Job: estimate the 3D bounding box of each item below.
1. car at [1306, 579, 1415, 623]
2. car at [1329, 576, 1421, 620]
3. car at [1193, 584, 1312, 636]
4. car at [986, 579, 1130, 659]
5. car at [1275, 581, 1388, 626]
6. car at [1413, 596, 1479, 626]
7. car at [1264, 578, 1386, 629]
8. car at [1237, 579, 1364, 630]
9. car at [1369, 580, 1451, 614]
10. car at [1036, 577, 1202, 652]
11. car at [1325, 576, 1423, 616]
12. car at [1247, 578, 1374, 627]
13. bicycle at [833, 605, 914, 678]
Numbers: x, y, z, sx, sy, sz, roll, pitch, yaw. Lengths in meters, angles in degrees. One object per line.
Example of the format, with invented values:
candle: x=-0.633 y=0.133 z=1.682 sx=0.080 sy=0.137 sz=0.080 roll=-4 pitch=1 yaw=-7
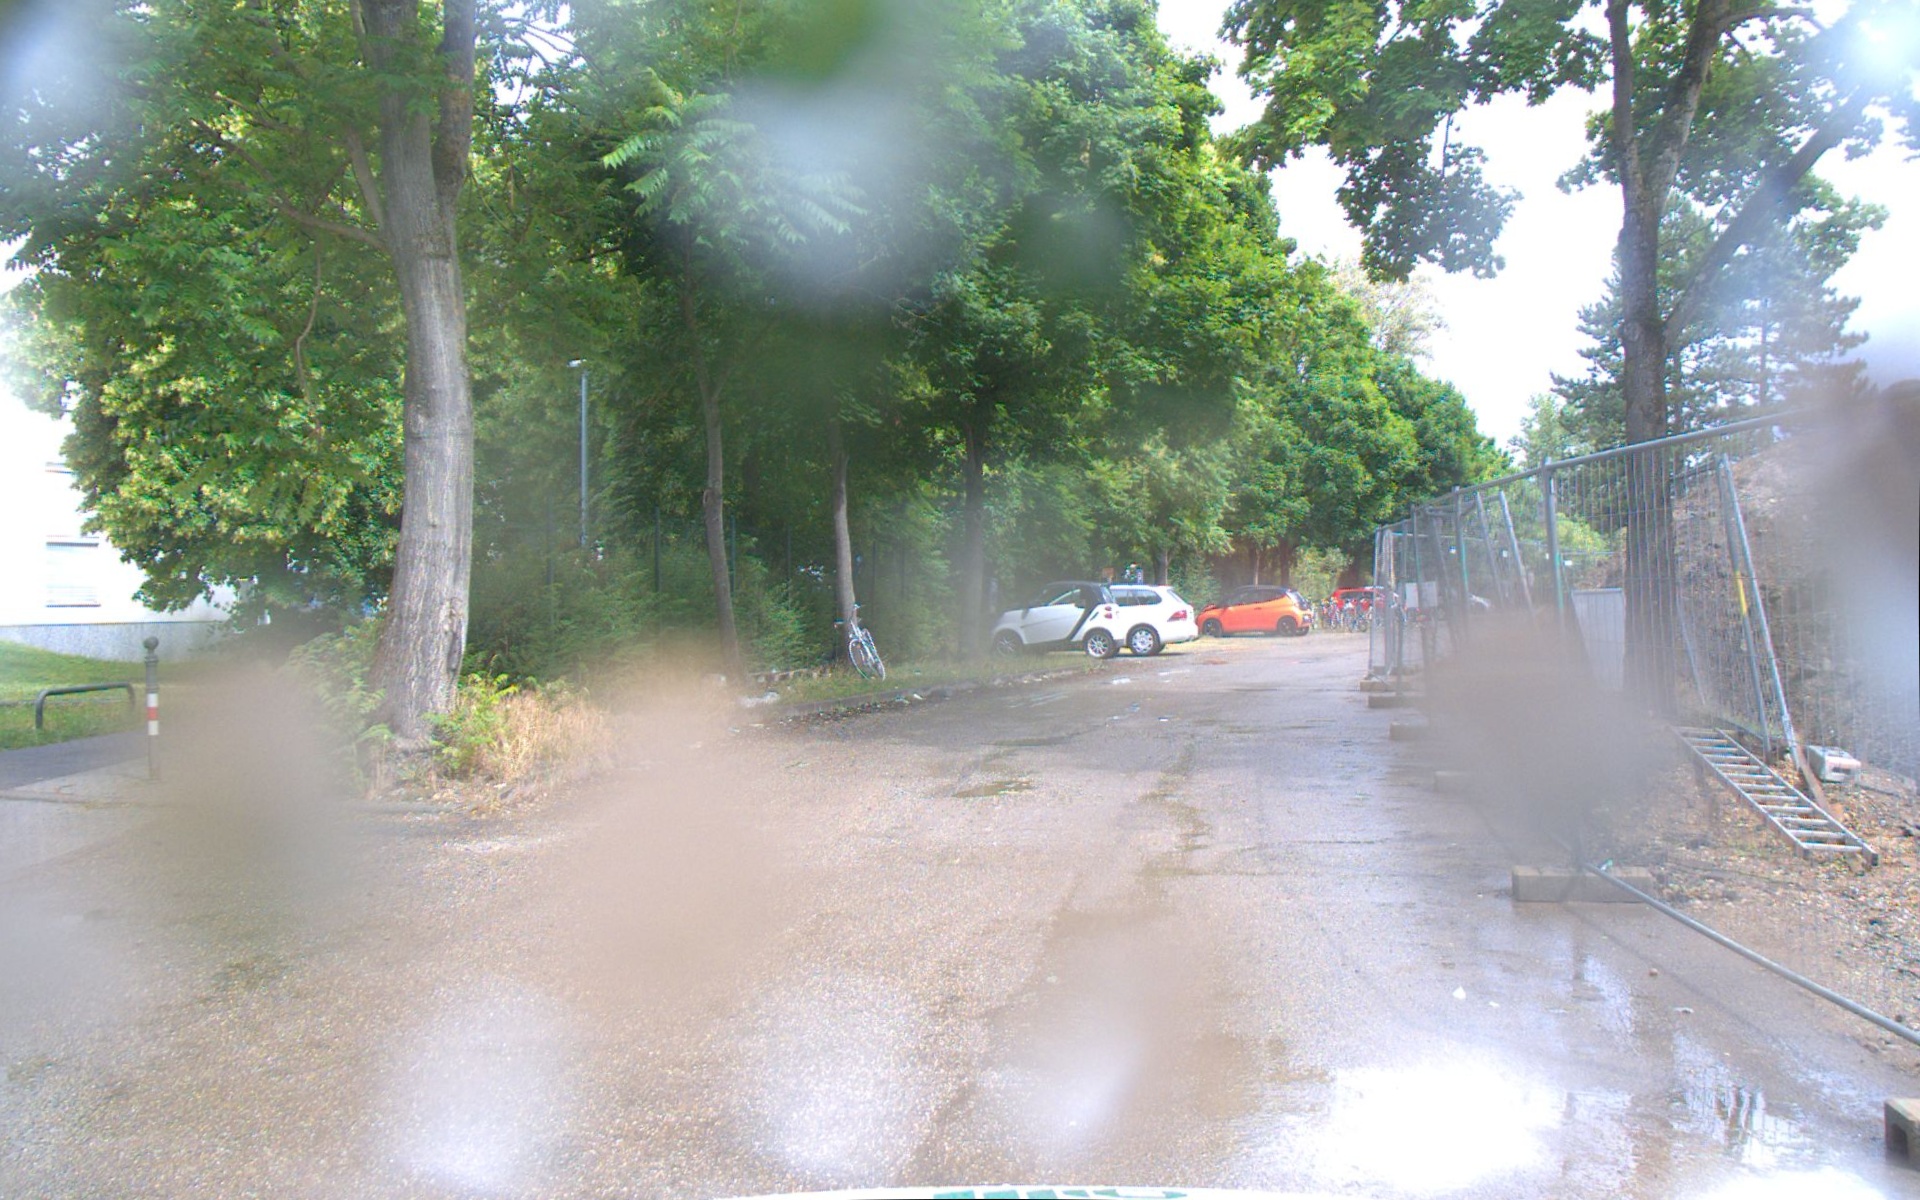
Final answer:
car: x=15.450 y=0.015 z=63.757 sx=3.904 sy=1.587 sz=1.764 roll=1 pitch=2 yaw=20
car: x=16.665 y=-0.100 z=66.428 sx=3.511 sy=1.648 sz=1.871 roll=1 pitch=2 yaw=16
car: x=8.752 y=0.284 z=49.510 sx=3.219 sy=1.449 sz=1.591 roll=1 pitch=2 yaw=26
car: x=1.994 y=0.364 z=33.321 sx=2.695 sy=1.510 sz=1.594 roll=-1 pitch=1 yaw=11
car: x=13.567 y=0.120 z=60.385 sx=3.860 sy=1.543 sz=1.807 roll=1 pitch=2 yaw=19
car: x=28.597 y=0.616 z=97.312 sx=3.674 sy=1.668 sz=1.673 roll=1 pitch=2 yaw=19
car: x=12.876 y=0.096 z=58.302 sx=4.021 sy=1.679 sz=1.848 roll=1 pitch=2 yaw=18
car: x=11.050 y=0.122 z=53.577 sx=3.717 sy=1.555 sz=1.909 roll=1 pitch=2 yaw=24
car: x=21.982 y=-0.158 z=80.770 sx=3.776 sy=1.600 sz=1.959 roll=1 pitch=2 yaw=19
car: x=3.424 y=0.299 z=35.356 sx=3.358 sy=1.494 sz=1.742 roll=-1 pitch=1 yaw=11
car: x=17.196 y=-0.185 z=68.690 sx=3.776 sy=1.600 sz=1.959 roll=1 pitch=2 yaw=19
car: x=11.802 y=0.051 z=55.667 sx=3.906 sy=1.522 sz=1.993 roll=1 pitch=2 yaw=23
bicycle: x=-1.119 y=0.527 z=21.721 sx=0.466 sy=0.875 sz=1.455 roll=1 pitch=2 yaw=23
